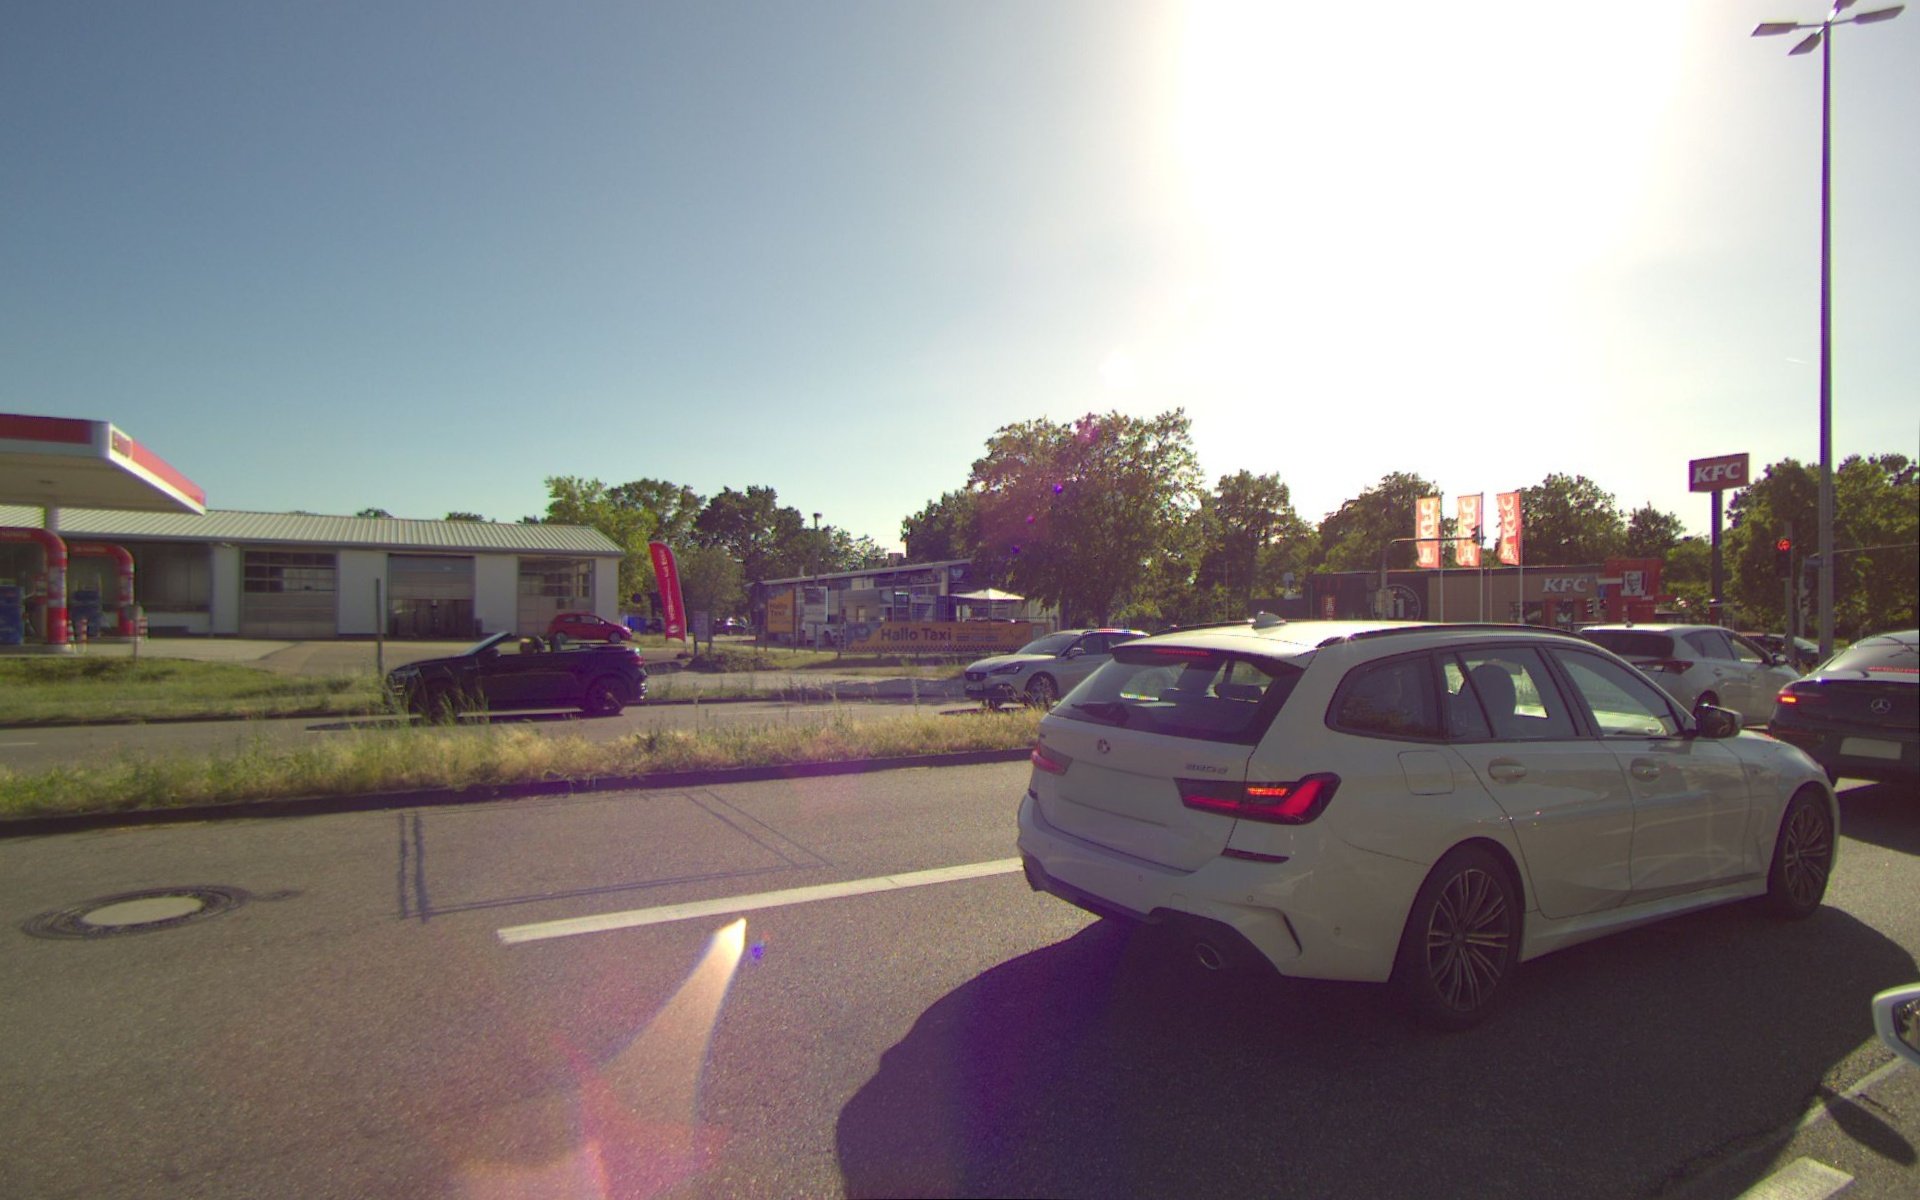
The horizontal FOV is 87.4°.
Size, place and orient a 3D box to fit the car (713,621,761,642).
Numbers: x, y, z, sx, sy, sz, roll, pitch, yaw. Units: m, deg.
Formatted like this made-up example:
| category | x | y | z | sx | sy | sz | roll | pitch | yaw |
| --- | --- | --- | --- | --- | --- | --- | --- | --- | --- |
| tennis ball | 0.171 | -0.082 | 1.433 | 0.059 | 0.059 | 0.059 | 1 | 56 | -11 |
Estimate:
| category | x | y | z | sx | sy | sz | roll | pitch | yaw |
| --- | --- | --- | --- | --- | --- | --- | --- | --- | --- |
| car | -19.395 | 2.727 | 87.577 | 3.929 | 1.634 | 1.996 | 2 | 0 | -11 |

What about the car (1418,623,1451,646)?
| category | x | y | z | sx | sy | sz | roll | pitch | yaw |
| --- | --- | --- | --- | --- | --- | --- | --- | --- | --- |
| car | 33.935 | 2.459 | 71.954 | 1.629 | 1.491 | 3.919 | 2 | 0 | 18 |

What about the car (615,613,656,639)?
| category | x | y | z | sx | sy | sz | roll | pitch | yaw |
| --- | --- | --- | --- | --- | --- | --- | --- | --- | --- |
| car | -19.300 | 1.552 | 59.659 | 1.634 | 1.383 | 3.744 | 2 | 0 | -29 |

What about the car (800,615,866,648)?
| category | x | y | z | sx | sy | sz | roll | pitch | yaw |
| --- | --- | --- | --- | --- | --- | --- | --- | --- | --- |
| car | -6.764 | 1.651 | 53.117 | 1.978 | 1.584 | 3.964 | 2 | 0 | -32 |

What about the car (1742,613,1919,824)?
| category | x | y | z | sx | sy | sz | roll | pitch | yaw |
| --- | --- | --- | --- | --- | --- | --- | --- | --- | --- |
| car | 8.783 | 0.934 | 8.642 | 4.425 | 1.510 | 1.787 | 2 | 0 | -31 |

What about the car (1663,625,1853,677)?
| category | x | y | z | sx | sy | sz | roll | pitch | yaw |
| --- | --- | --- | --- | --- | --- | --- | --- | --- | --- |
| car | 25.228 | 1.614 | 31.929 | 1.742 | 1.510 | 4.395 | 1 | -3 | -28 |

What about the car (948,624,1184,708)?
| category | x | y | z | sx | sy | sz | roll | pitch | yaw |
| --- | --- | --- | --- | --- | --- | --- | --- | --- | --- |
| car | 2.035 | 1.224 | 18.898 | 4.256 | 1.428 | 1.720 | 2 | -4 | -31 |

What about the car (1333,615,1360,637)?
| category | x | y | z | sx | sy | sz | roll | pitch | yaw |
| --- | --- | --- | --- | --- | --- | --- | --- | --- | --- |
| car | 28.291 | 1.899 | 73.661 | 1.629 | 1.491 | 3.919 | 2 | 0 | 18 |

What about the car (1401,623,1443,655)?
| category | x | y | z | sx | sy | sz | roll | pitch | yaw |
| --- | --- | --- | --- | --- | --- | --- | --- | --- | --- |
| car | 28.346 | 2.347 | 61.526 | 1.964 | 1.788 | 4.349 | 2 | 0 | 29 |

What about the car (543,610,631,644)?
| category | x | y | z | sx | sy | sz | roll | pitch | yaw |
| --- | --- | --- | --- | --- | --- | --- | --- | --- | --- |
| car | -18.344 | 1.341 | 49.406 | 3.946 | 1.537 | 1.772 | 2 | 0 | -25 |

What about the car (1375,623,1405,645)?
| category | x | y | z | sx | sy | sz | roll | pitch | yaw |
| --- | --- | --- | --- | --- | --- | --- | --- | --- | --- |
| car | 31.302 | 2.450 | 73.226 | 1.629 | 1.491 | 3.919 | 2 | 0 | 18 |

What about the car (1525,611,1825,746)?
| category | x | y | z | sx | sy | sz | roll | pitch | yaw |
| --- | --- | --- | --- | --- | --- | --- | --- | --- | --- |
| car | 9.581 | 0.972 | 13.390 | 4.150 | 1.510 | 1.750 | 2 | 0 | -31 |

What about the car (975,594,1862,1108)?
| category | x | y | z | sx | sy | sz | roll | pitch | yaw |
| --- | --- | --- | --- | --- | --- | --- | --- | --- | --- |
| car | 2.392 | 0.802 | 4.878 | 4.353 | 1.510 | 1.776 | 2 | 0 | -31 |

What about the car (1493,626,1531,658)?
| category | x | y | z | sx | sy | sz | roll | pitch | yaw |
| --- | --- | --- | --- | --- | --- | --- | --- | --- | --- |
| car | 33.092 | 2.478 | 60.209 | 1.880 | 1.776 | 4.349 | 2 | 0 | 29 |

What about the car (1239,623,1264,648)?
| category | x | y | z | sx | sy | sz | roll | pitch | yaw |
| --- | --- | --- | --- | --- | --- | --- | --- | --- | --- |
| car | 21.812 | 2.626 | 75.158 | 1.629 | 1.695 | 3.945 | 2 | 0 | 18 |

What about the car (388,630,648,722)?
| category | x | y | z | sx | sy | sz | roll | pitch | yaw |
| --- | --- | --- | --- | --- | --- | --- | --- | --- | --- |
| car | -7.615 | 1.271 | 17.410 | 3.933 | 1.428 | 1.750 | 2 | -4 | -31 |
